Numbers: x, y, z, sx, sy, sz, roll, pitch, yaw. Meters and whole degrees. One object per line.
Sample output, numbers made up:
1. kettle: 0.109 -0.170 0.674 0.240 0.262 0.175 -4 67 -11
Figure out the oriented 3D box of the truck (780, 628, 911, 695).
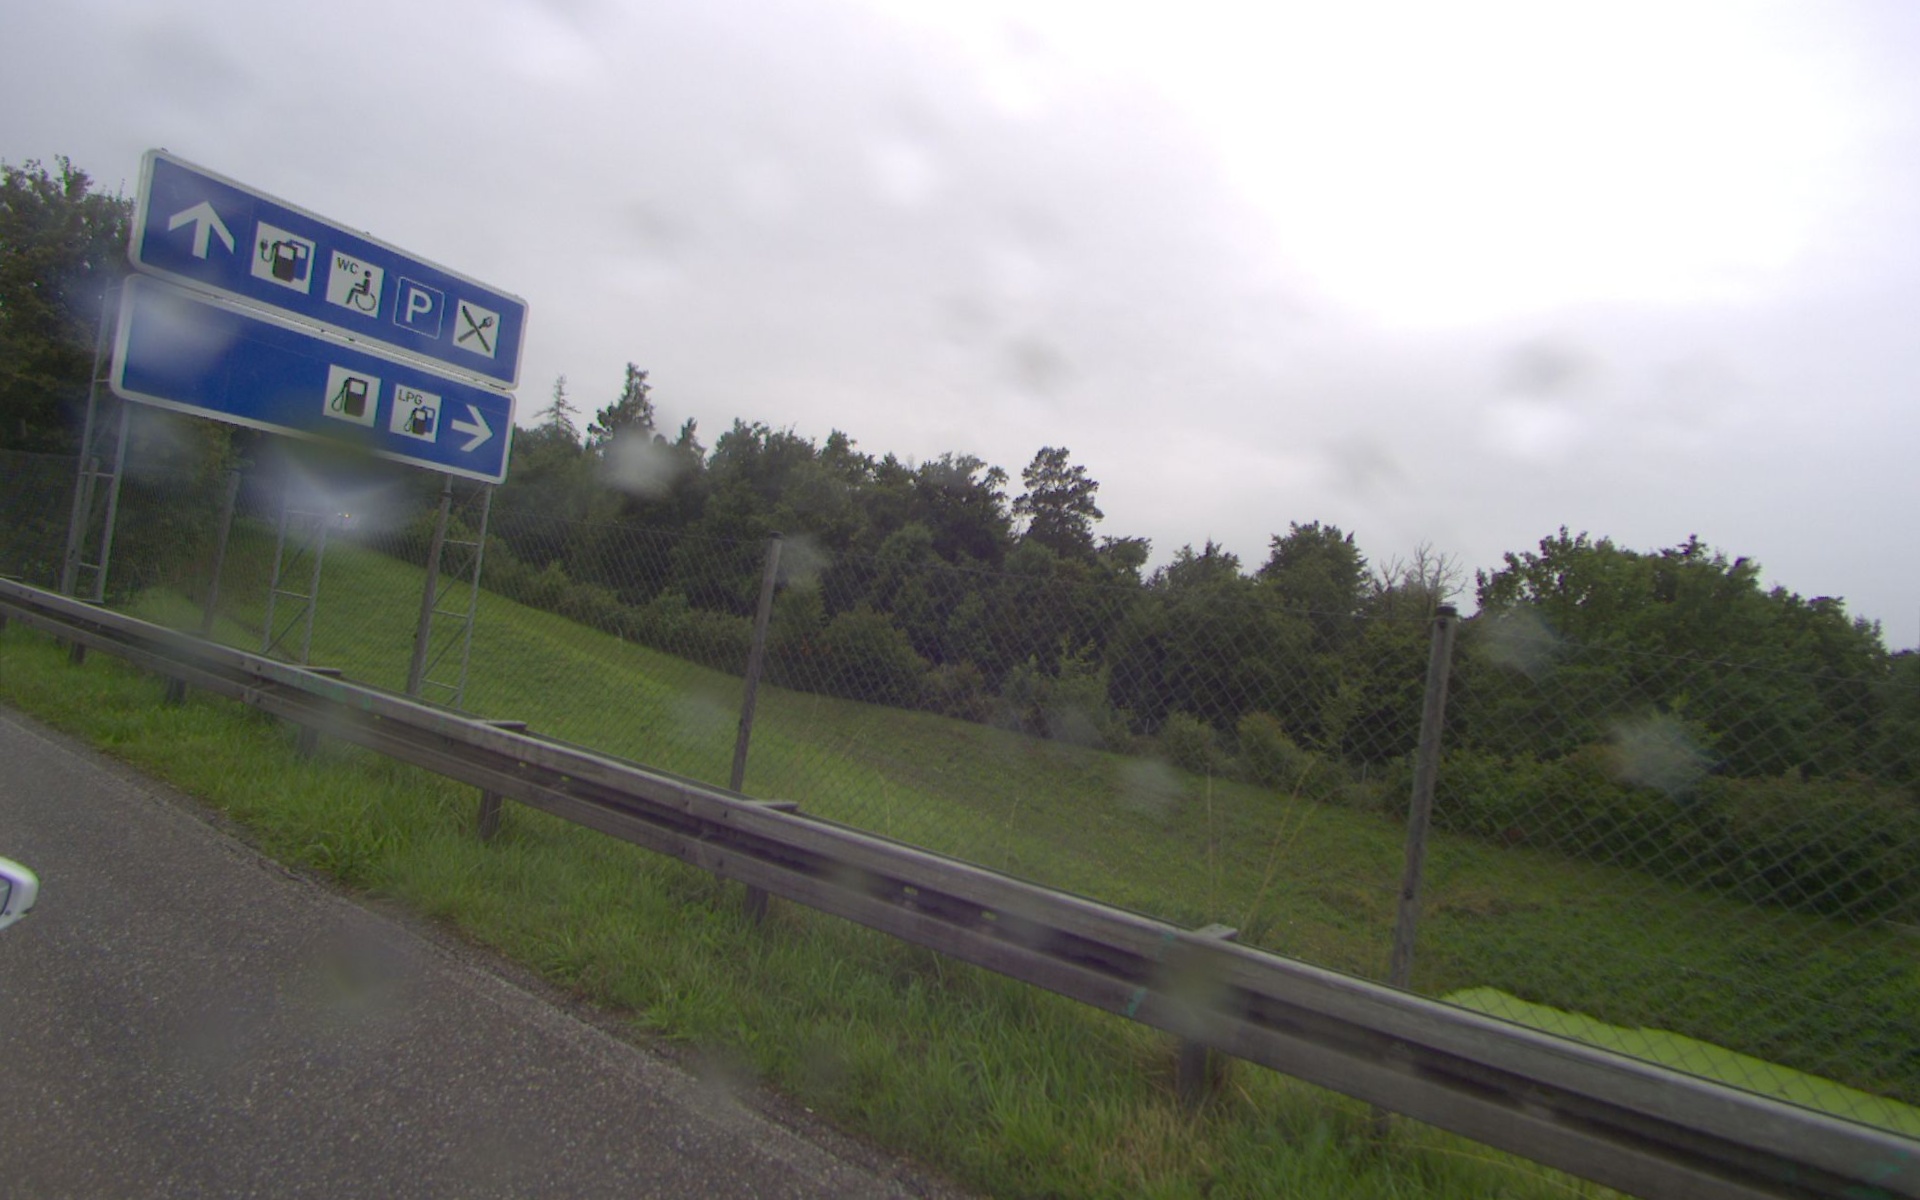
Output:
1. truck: -7.365 3.862 64.006 8.133 2.685 2.836 8 -6 35
